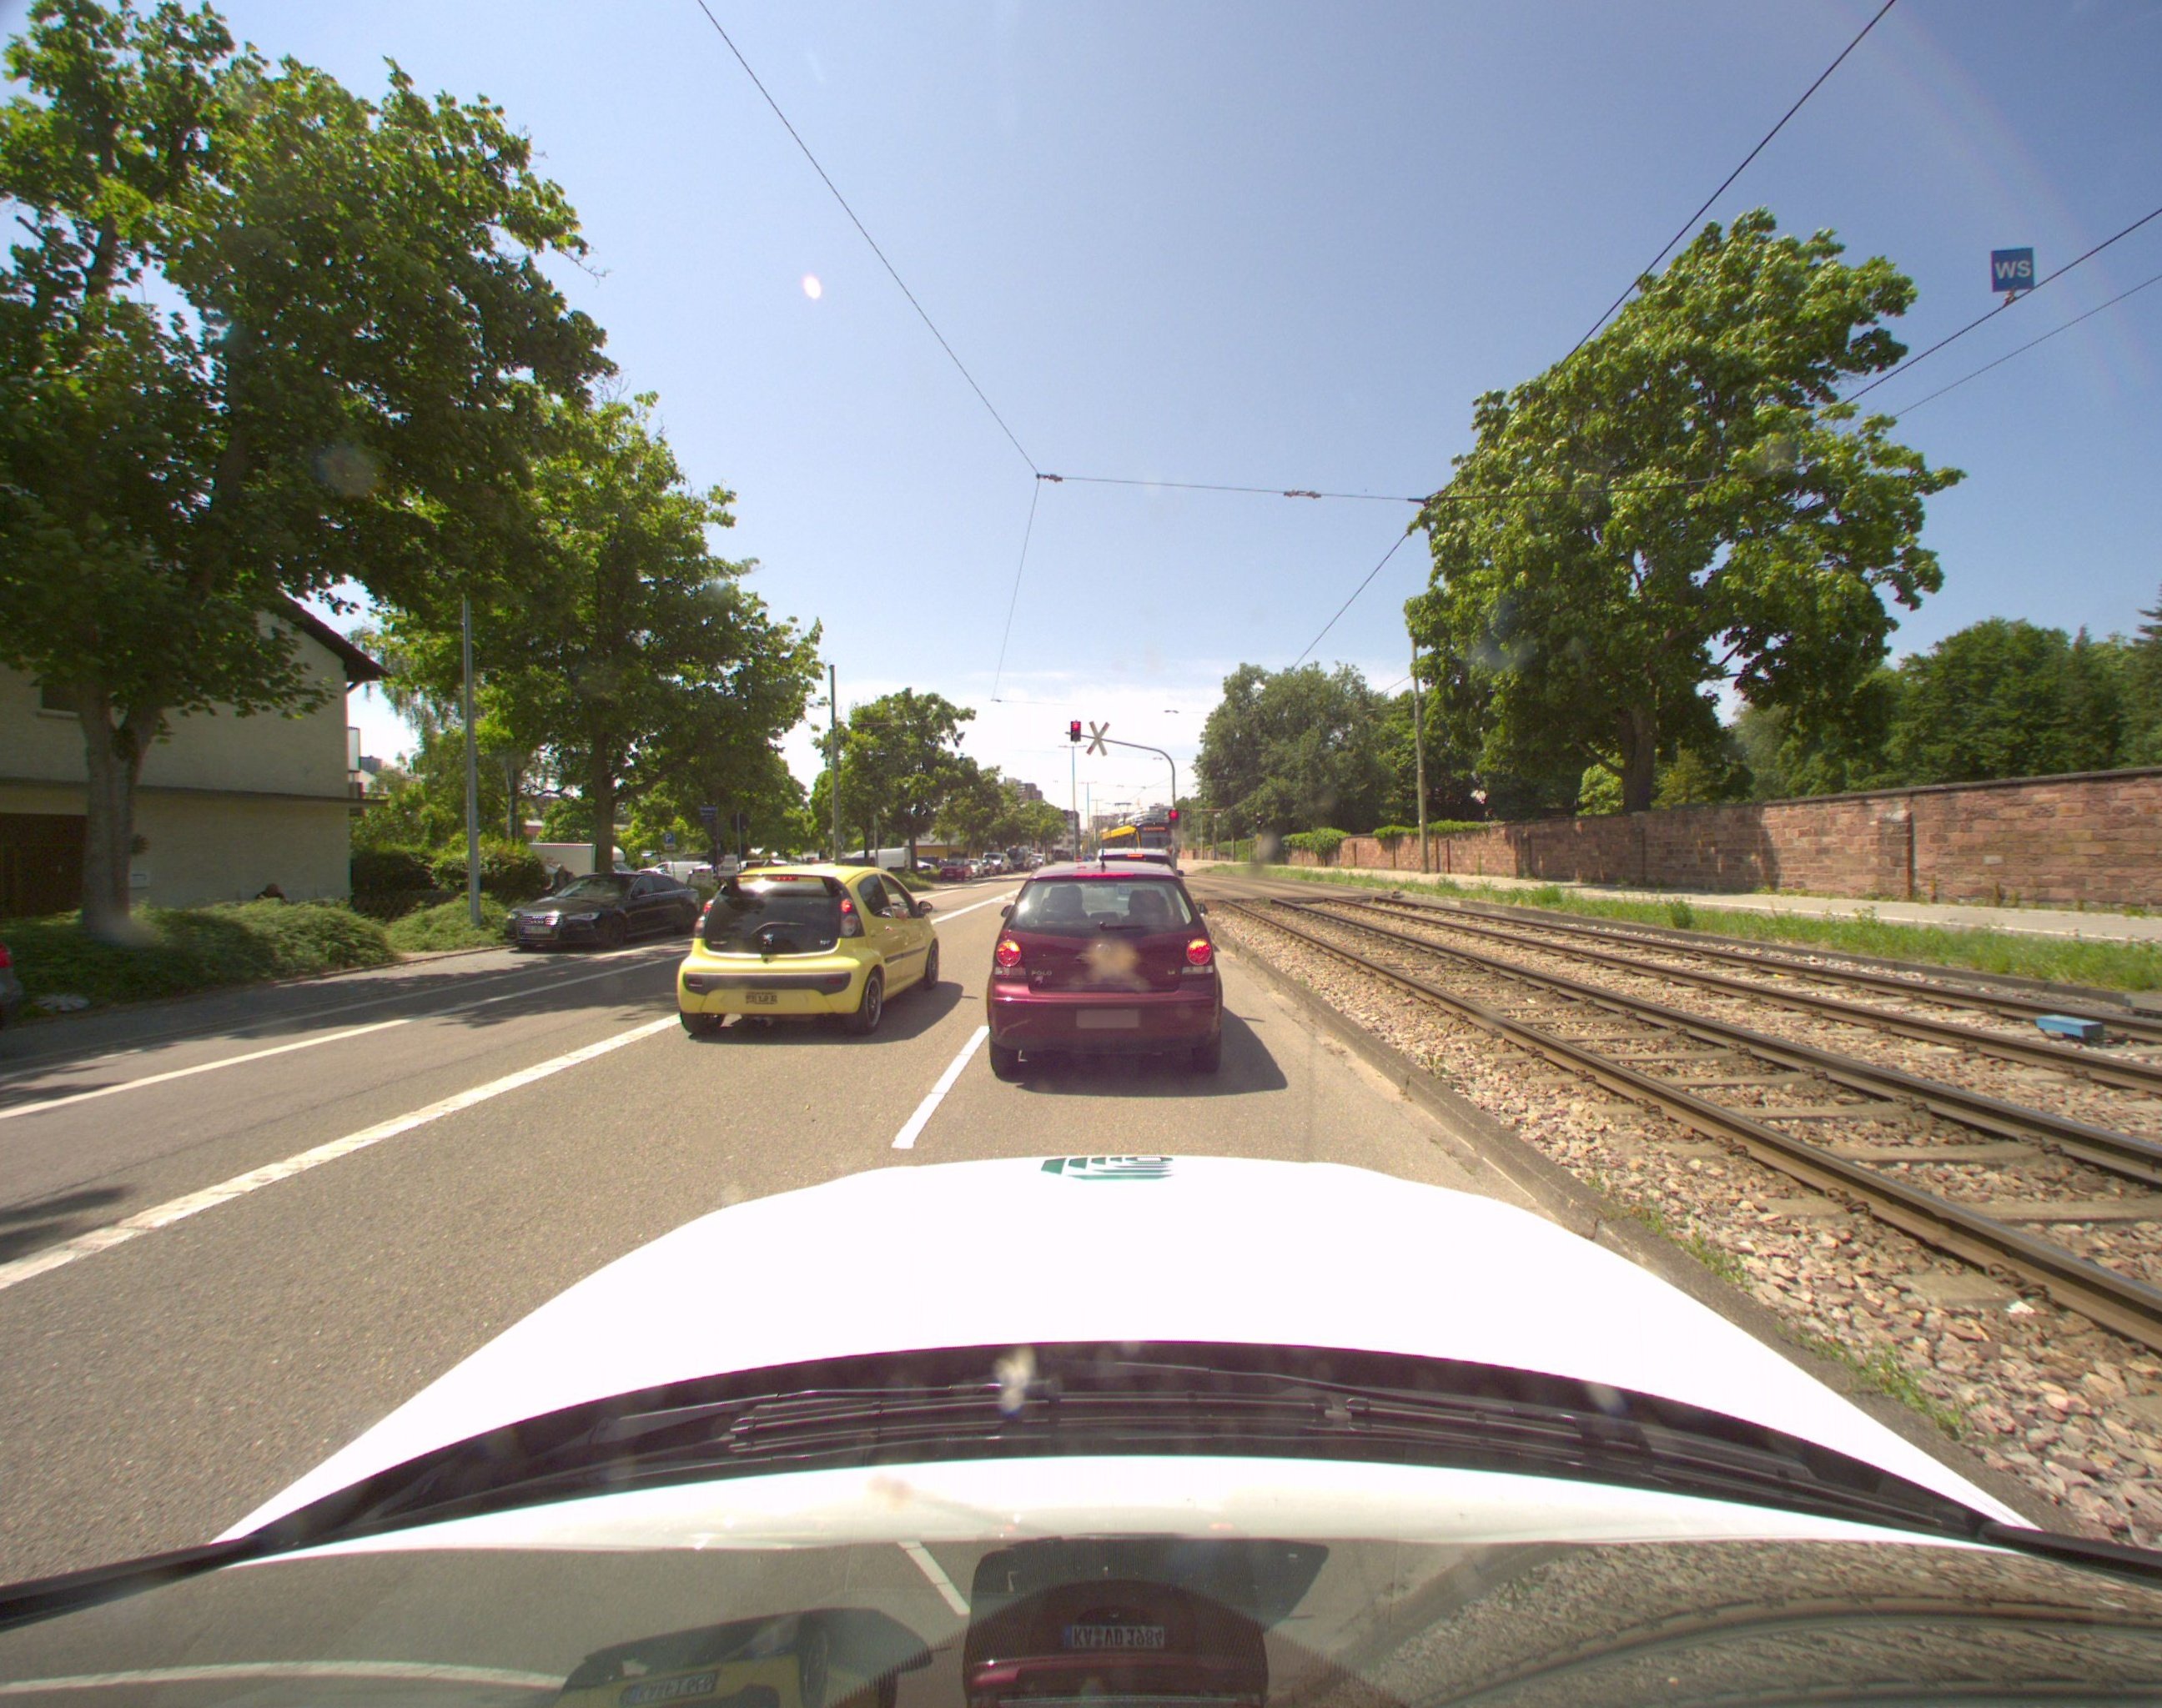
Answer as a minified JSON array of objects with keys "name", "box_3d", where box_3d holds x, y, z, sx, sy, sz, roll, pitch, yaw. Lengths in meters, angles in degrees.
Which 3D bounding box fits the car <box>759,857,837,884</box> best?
[{"name":"car","box_3d":[-18.420,1.080,53.060,4.319,1.585,1.917,-2,0,8]}]

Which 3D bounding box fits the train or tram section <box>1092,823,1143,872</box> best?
[{"name":"train or tram section","box_3d":[2.781,-0.487,66.280,2.736,3.609,10.931,1,0,-5]}]

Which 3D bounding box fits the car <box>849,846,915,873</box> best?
[{"name":"car","box_3d":[-17.440,0.492,71.554,5.076,2.244,2.380,1,-1,3]}]

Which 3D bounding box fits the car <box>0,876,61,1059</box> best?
[{"name":"car","box_3d":[-10.263,0.990,5.338,1.812,1.564,4.182,0,0,1]}]

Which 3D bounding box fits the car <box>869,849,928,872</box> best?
[{"name":"car","box_3d":[-17.834,0.644,79.681,5.076,2.244,2.380,1,-1,3]}]

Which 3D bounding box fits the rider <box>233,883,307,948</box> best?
[{"name":"rider","box_3d":[-17.976,1.351,18.069,0.820,1.374,0.814,-2,0,10]}]

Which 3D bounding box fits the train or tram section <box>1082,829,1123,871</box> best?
[{"name":"train or tram section","box_3d":[1.891,-0.389,76.738,2.736,3.609,10.931,1,0,-5]}]

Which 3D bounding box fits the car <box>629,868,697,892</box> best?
[{"name":"car","box_3d":[-30.426,1.883,59.331,3.982,1.653,1.812,1,-1,-7]}]

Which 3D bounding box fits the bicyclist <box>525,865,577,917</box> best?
[{"name":"bicyclist","box_3d":[-14.419,0.993,22.184,0.805,1.374,0.829,0,-1,5]}]

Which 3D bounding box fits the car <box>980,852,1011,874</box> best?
[{"name":"car","box_3d":[-7.456,0.769,71.532,1.774,1.881,4.791,0,-1,5]}]

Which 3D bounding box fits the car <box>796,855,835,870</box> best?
[{"name":"car","box_3d":[-31.582,1.015,96.922,4.006,1.617,1.816,1,-1,0]}]

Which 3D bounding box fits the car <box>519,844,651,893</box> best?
[{"name":"car","box_3d":[-31.450,0.908,51.806,6.828,2.965,2.364,1,-1,0]}]

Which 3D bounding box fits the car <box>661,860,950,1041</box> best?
[{"name":"car","box_3d":[-2.491,0.785,8.291,1.684,1.411,3.516,0,0,1]}]

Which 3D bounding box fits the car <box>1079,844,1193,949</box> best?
[{"name":"car","box_3d":[0.900,0.658,14.743,1.770,1.647,4.001,0,0,1]}]

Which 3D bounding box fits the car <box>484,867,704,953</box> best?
[{"name":"car","box_3d":[-9.869,1.058,17.009,1.812,1.476,4.450,0,0,1]}]

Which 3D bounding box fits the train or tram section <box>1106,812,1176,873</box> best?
[{"name":"train or tram section","box_3d":[3.771,-0.710,54.845,2.736,3.609,12.847,1,0,-5]}]

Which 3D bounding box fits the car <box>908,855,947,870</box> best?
[{"name":"car","box_3d":[-17.410,0.970,92.339,4.004,1.617,1.818,1,-1,3]}]

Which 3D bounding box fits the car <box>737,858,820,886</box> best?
[{"name":"car","box_3d":[-18.632,1.091,50.267,4.319,1.585,1.917,-2,0,7]}]

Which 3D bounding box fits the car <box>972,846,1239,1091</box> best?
[{"name":"car","box_3d":[0.197,0.710,7.090,1.666,1.521,4.001,0,0,1]}]

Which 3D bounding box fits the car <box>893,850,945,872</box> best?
[{"name":"car","box_3d":[-17.439,0.744,87.933,5.076,2.244,2.380,1,-1,3]}]

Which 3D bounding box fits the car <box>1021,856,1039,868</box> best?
[{"name":"car","box_3d":[-6.331,1.024,101.055,1.606,1.441,4.006,0,-1,5]}]

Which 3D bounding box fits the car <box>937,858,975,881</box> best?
[{"name":"car","box_3d":[-8.336,1.010,54.751,1.655,1.497,4.004,1,-1,4]}]

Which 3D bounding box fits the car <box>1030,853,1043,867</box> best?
[{"name":"car","box_3d":[-5.888,0.794,107.846,1.771,1.828,3.995,1,-1,-3]}]

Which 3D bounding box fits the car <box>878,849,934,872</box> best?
[{"name":"car","box_3d":[-17.738,0.682,82.868,5.076,2.244,2.380,1,-1,3]}]

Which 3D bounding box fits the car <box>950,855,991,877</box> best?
[{"name":"car","box_3d":[-8.228,0.881,61.303,1.965,1.601,4.566,0,-1,6]}]

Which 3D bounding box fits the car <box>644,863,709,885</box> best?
[{"name":"car","box_3d":[-30.664,1.517,61.758,3.982,1.653,1.812,1,-1,-7]}]

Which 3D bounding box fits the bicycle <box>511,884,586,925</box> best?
[{"name":"bicycle","box_3d":[-14.429,1.349,22.125,0.697,1.030,1.831,0,-1,5]}]

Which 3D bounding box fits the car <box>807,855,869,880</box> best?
[{"name":"car","box_3d":[-18.187,1.001,61.093,3.973,1.746,1.998,-2,0,0]}]

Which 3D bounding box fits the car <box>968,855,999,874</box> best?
[{"name":"car","box_3d":[-7.890,0.861,66.073,1.606,1.441,4.006,0,-1,5]}]

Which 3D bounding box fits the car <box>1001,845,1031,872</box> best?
[{"name":"car","box_3d":[-6.703,0.441,84.569,2.352,2.692,5.311,1,-1,3]}]

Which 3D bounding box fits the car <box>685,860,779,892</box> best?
[{"name":"car","box_3d":[-19.358,1.182,45.266,4.329,1.585,1.912,-2,0,-1]}]

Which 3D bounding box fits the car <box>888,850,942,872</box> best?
[{"name":"car","box_3d":[-17.347,0.715,85.332,5.076,2.244,2.380,1,-1,3]}]
